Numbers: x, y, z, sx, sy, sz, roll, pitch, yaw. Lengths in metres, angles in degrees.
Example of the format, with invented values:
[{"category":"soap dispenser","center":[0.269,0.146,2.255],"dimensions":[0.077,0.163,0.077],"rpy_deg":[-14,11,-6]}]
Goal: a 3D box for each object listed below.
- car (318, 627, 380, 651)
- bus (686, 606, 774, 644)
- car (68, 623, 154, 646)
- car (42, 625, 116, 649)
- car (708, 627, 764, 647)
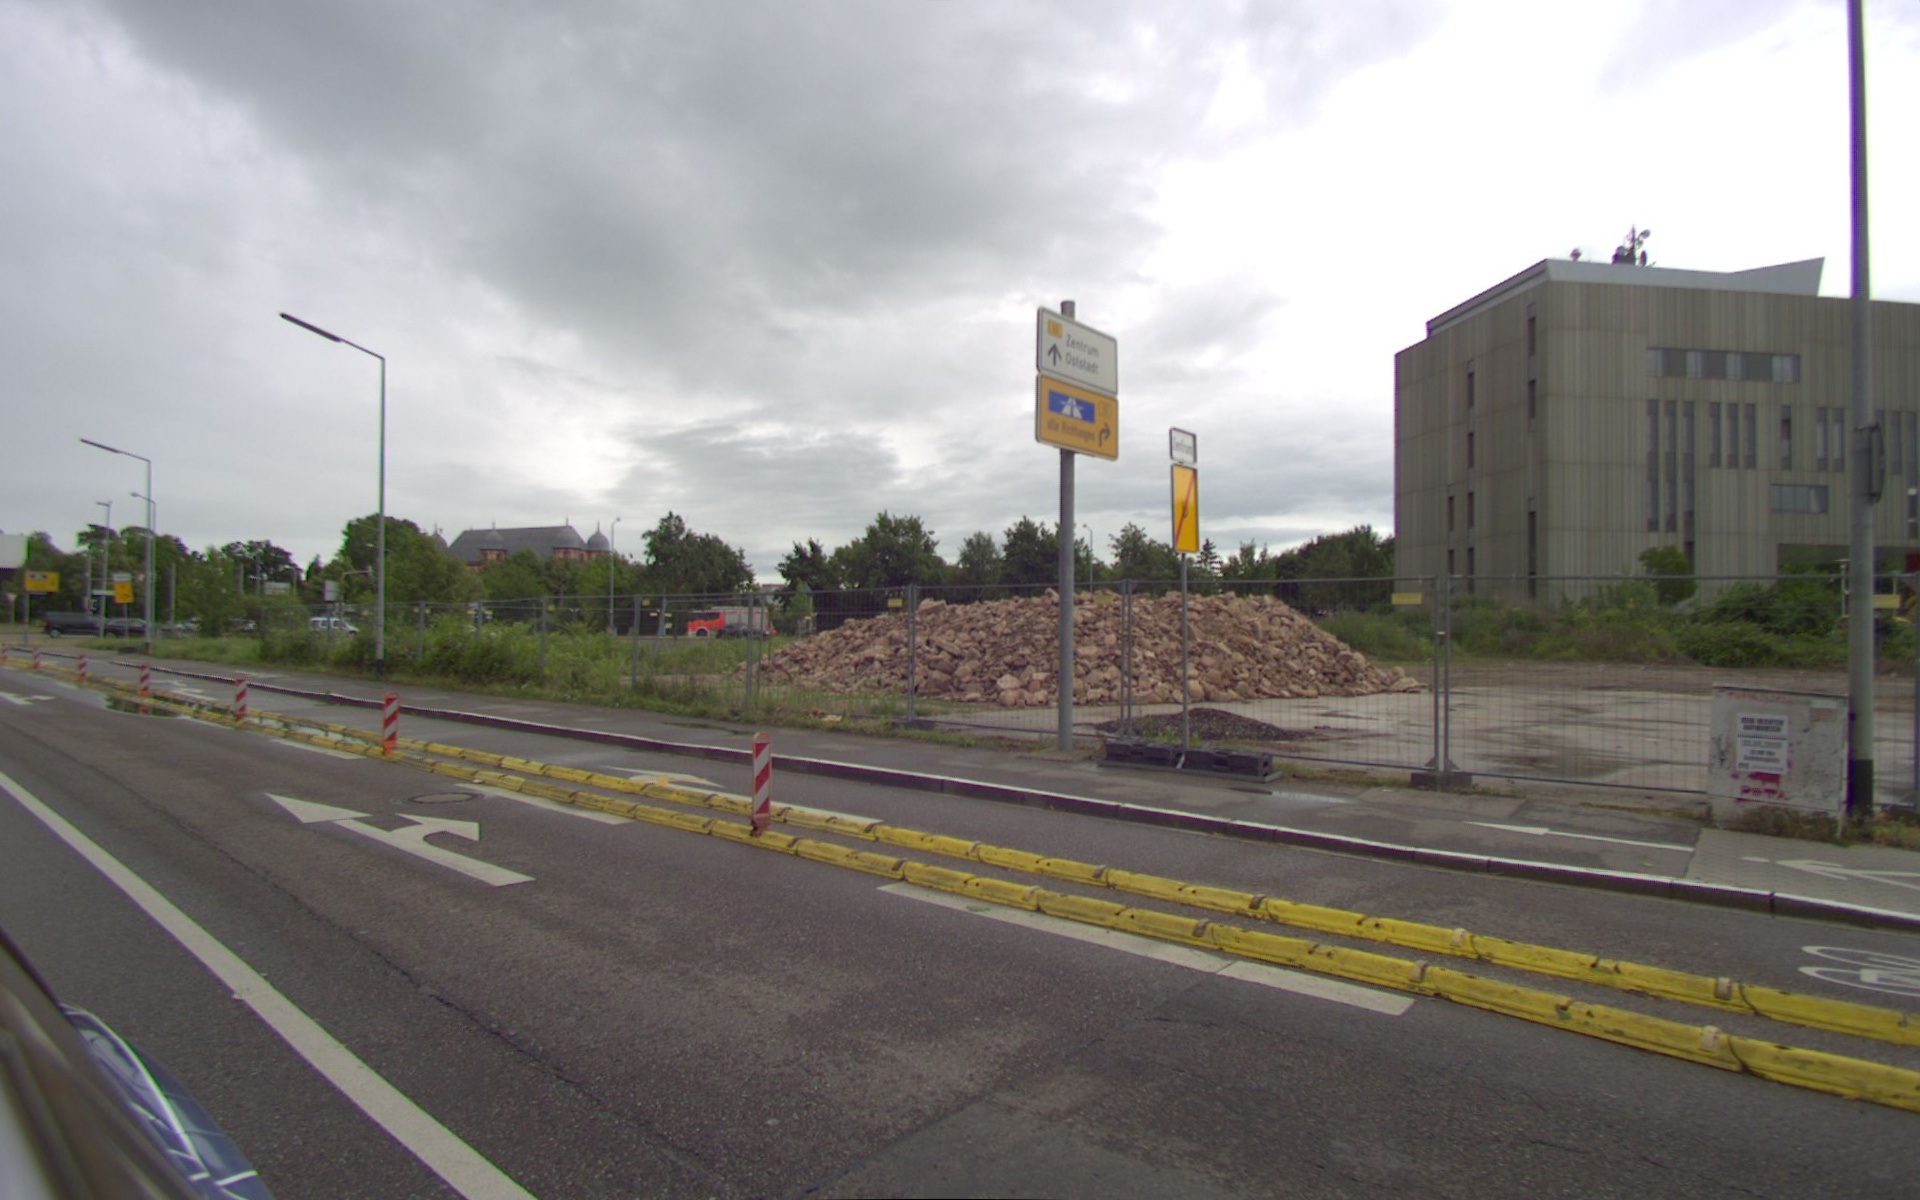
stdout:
[{"category":"car","center":[-51.853,3.280,85.942],"dimensions":[4.408,1.918,1.928],"rpy_deg":[1,-1,-28]},{"category":"bus","center":[-22.475,2.497,99.290],"dimensions":[8.264,3.676,2.739],"rpy_deg":[0,-2,-9]},{"category":"car","center":[-60.240,2.410,71.882],"dimensions":[1.920,1.578,4.415],"rpy_deg":[-1,-1,41]},{"category":"car","center":[-66.715,2.769,76.747],"dimensions":[3.945,1.728,1.935],"rpy_deg":[1,-1,-33]},{"category":"car","center":[-19.414,3.222,87.794],"dimensions":[4.673,1.680,1.926],"rpy_deg":[0,-1,-11]}]
